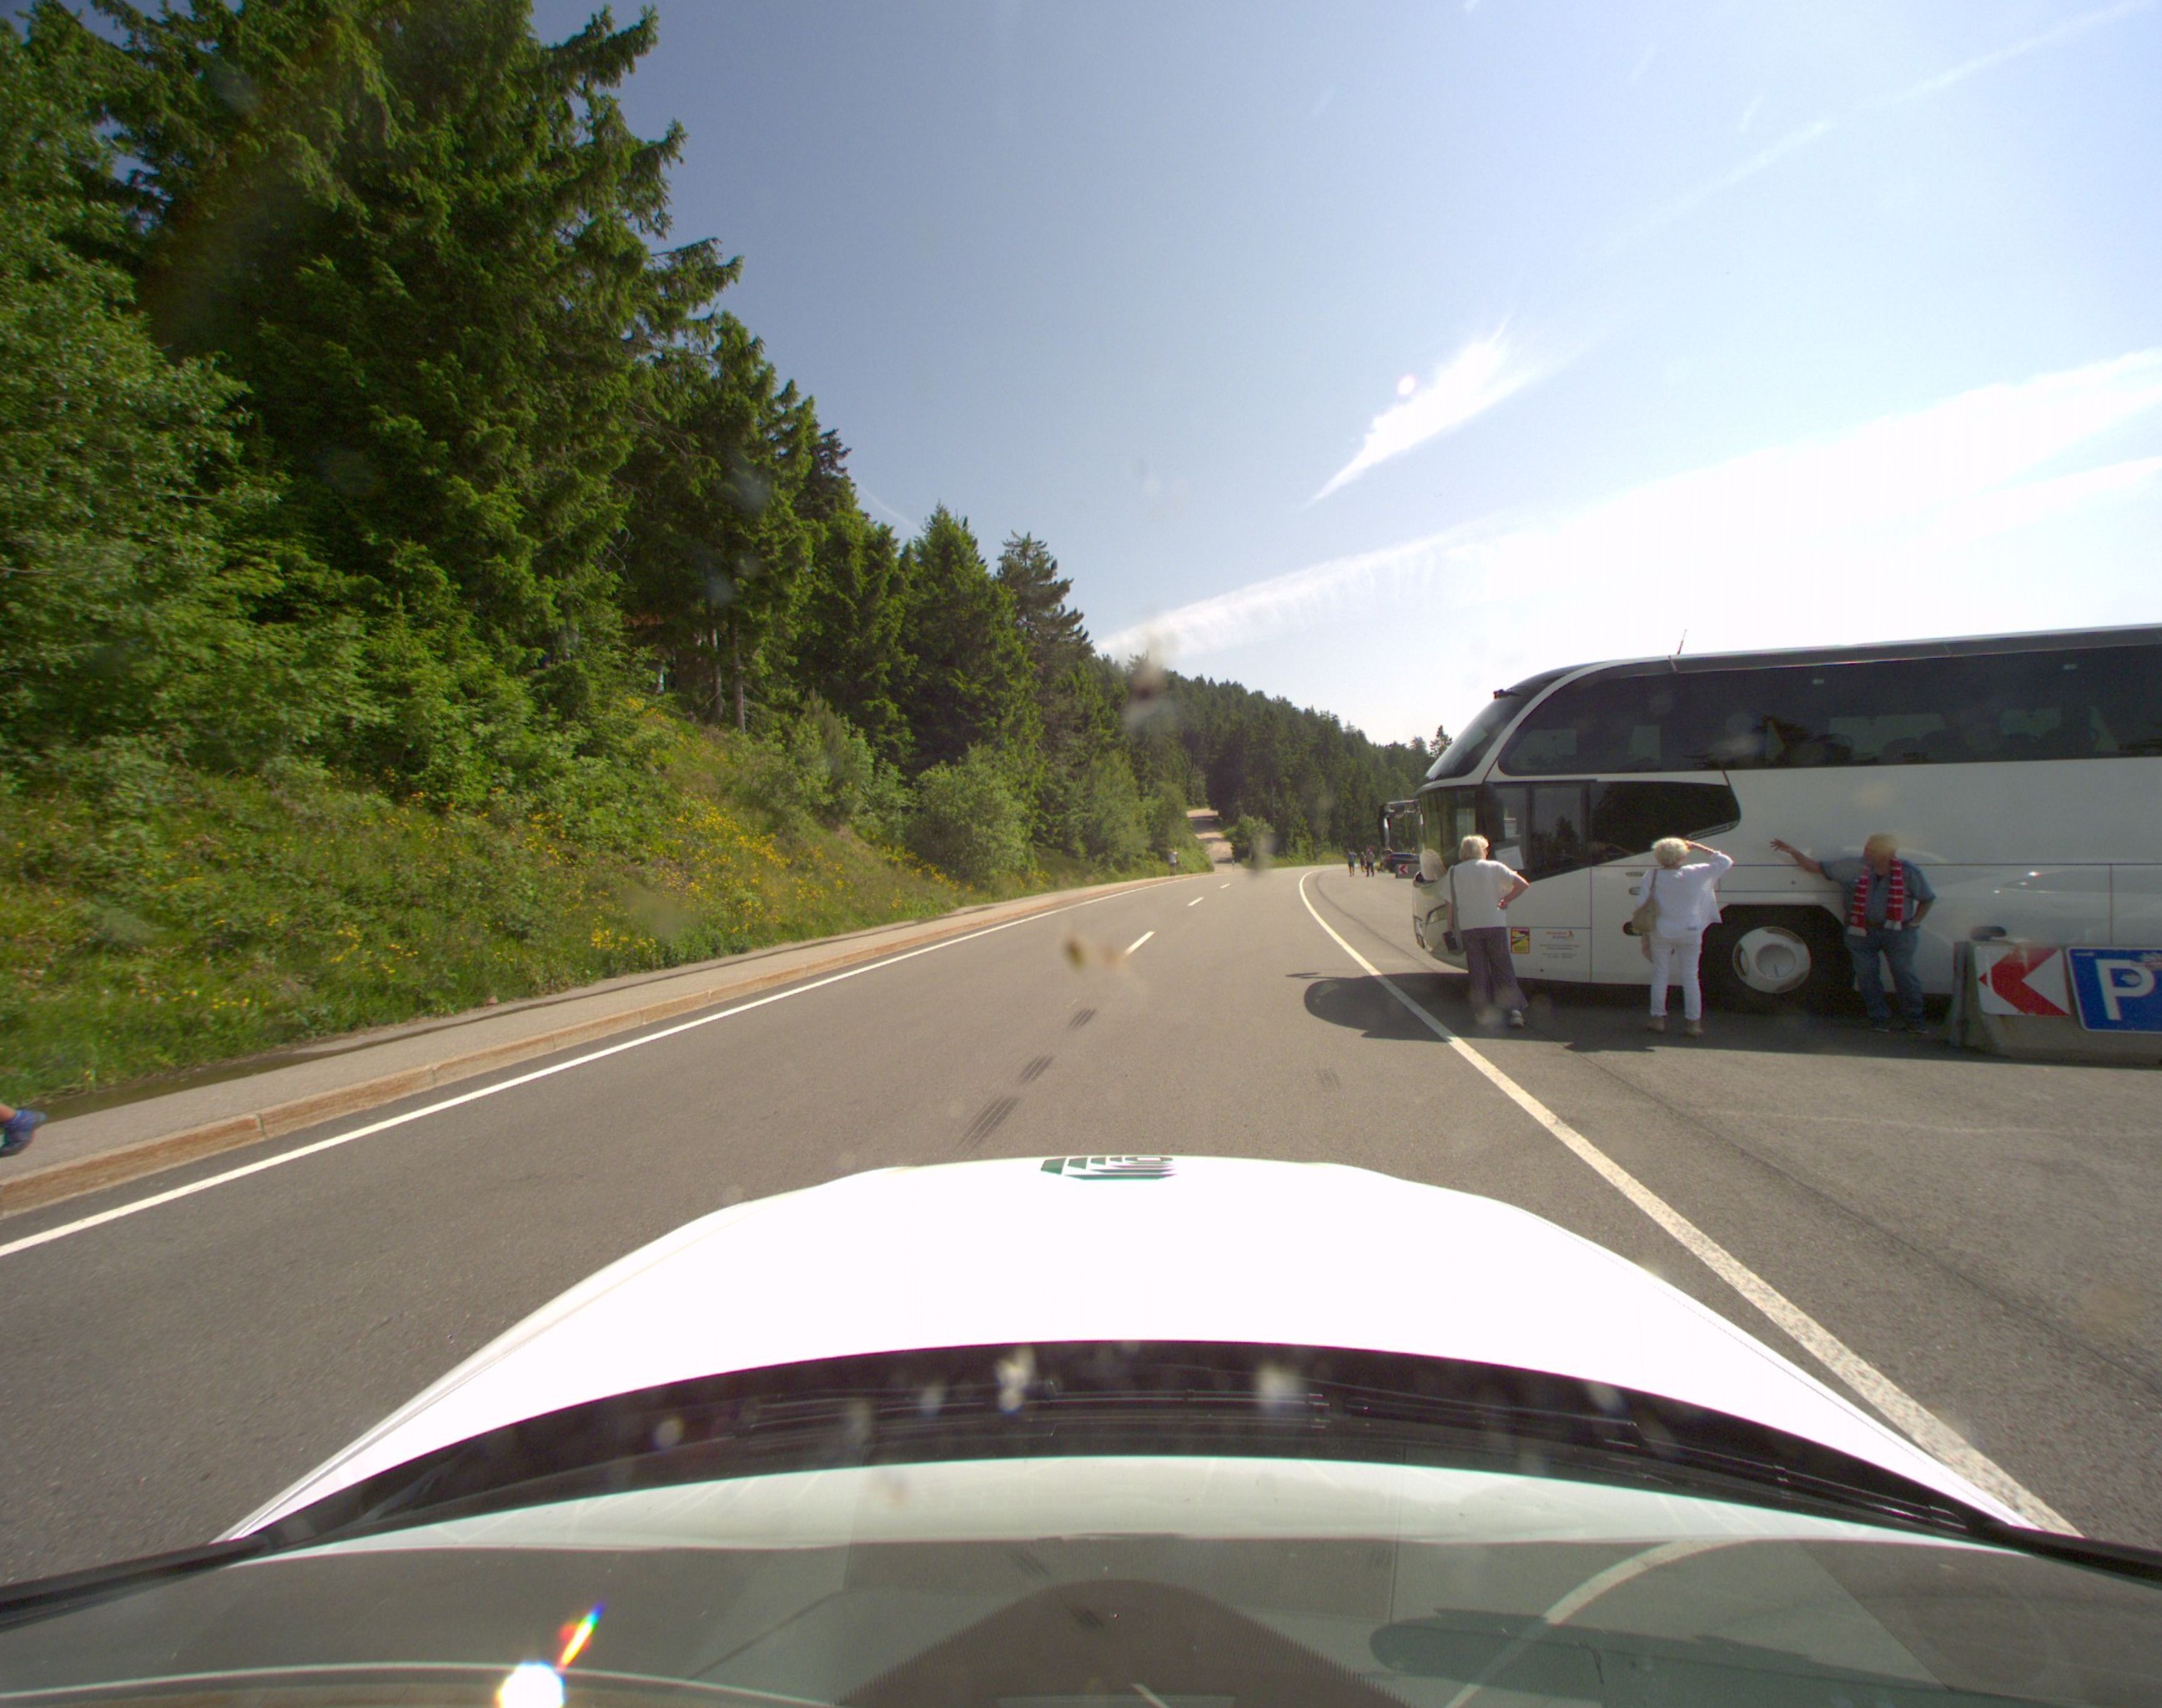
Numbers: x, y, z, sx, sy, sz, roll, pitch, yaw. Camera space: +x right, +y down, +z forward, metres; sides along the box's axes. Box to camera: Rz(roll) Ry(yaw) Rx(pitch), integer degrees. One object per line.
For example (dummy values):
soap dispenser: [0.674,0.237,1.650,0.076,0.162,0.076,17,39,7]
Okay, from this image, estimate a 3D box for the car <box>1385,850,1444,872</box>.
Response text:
car: [27.340,0.581,66.944,4.235,1.793,1.899,0,1,12]

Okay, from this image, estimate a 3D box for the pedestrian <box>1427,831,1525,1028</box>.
pedestrian: [3.504,0.628,7.252,0.700,1.643,0.749,-2,0,25]

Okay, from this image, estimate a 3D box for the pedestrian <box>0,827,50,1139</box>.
pedestrian: [-6.063,0.694,4.084,0.572,1.643,0.897,-2,0,11]

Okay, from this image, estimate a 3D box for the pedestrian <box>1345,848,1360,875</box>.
pedestrian: [17.625,0.486,52.848,0.746,1.760,0.780,-1,0,29]

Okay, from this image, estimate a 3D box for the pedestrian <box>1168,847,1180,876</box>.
pedestrian: [5.876,0.467,51.200,0.678,1.746,0.827,-1,0,10]

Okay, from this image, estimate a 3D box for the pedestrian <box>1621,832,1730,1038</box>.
pedestrian: [4.985,0.626,6.822,0.638,1.596,0.749,-2,0,41]

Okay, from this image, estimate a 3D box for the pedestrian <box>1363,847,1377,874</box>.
pedestrian: [18.562,0.423,52.348,0.658,1.741,0.900,-1,0,29]

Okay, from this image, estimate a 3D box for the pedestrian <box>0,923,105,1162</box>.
pedestrian: [-5.443,0.924,3.915,0.565,1.102,0.747,-2,0,11]

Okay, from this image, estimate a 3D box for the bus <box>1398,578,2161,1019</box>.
bus: [9.999,-0.478,7.741,12.749,3.577,2.851,-1,0,15]

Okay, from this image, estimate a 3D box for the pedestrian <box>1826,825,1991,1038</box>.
pedestrian: [6.774,0.600,6.711,0.639,1.643,0.748,-2,0,16]
